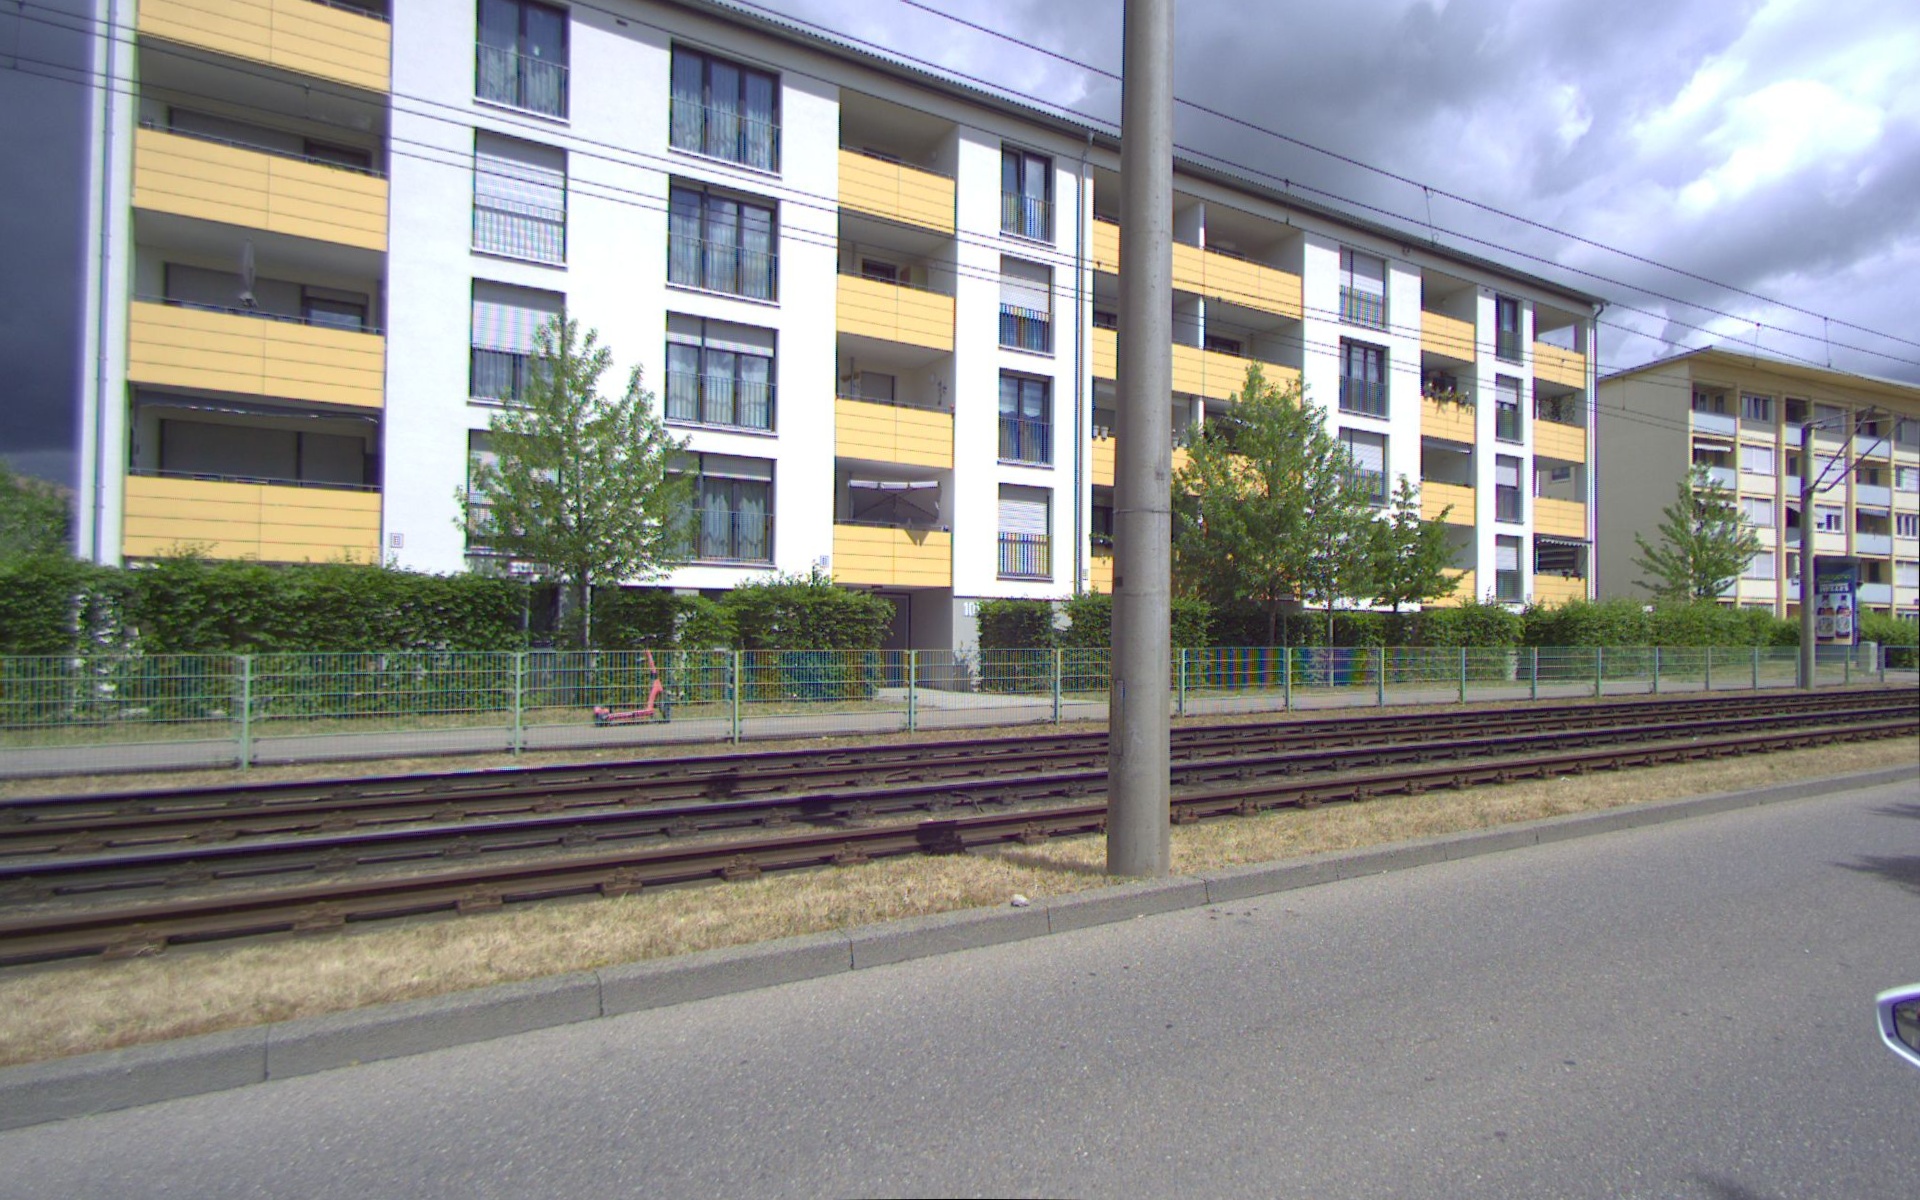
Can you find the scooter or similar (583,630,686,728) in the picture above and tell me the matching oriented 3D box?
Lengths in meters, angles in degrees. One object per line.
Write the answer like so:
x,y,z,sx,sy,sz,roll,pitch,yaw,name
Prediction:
-4.537,1.078,14.013,1.286,1.310,0.487,1,-1,-30,scooter or similar
